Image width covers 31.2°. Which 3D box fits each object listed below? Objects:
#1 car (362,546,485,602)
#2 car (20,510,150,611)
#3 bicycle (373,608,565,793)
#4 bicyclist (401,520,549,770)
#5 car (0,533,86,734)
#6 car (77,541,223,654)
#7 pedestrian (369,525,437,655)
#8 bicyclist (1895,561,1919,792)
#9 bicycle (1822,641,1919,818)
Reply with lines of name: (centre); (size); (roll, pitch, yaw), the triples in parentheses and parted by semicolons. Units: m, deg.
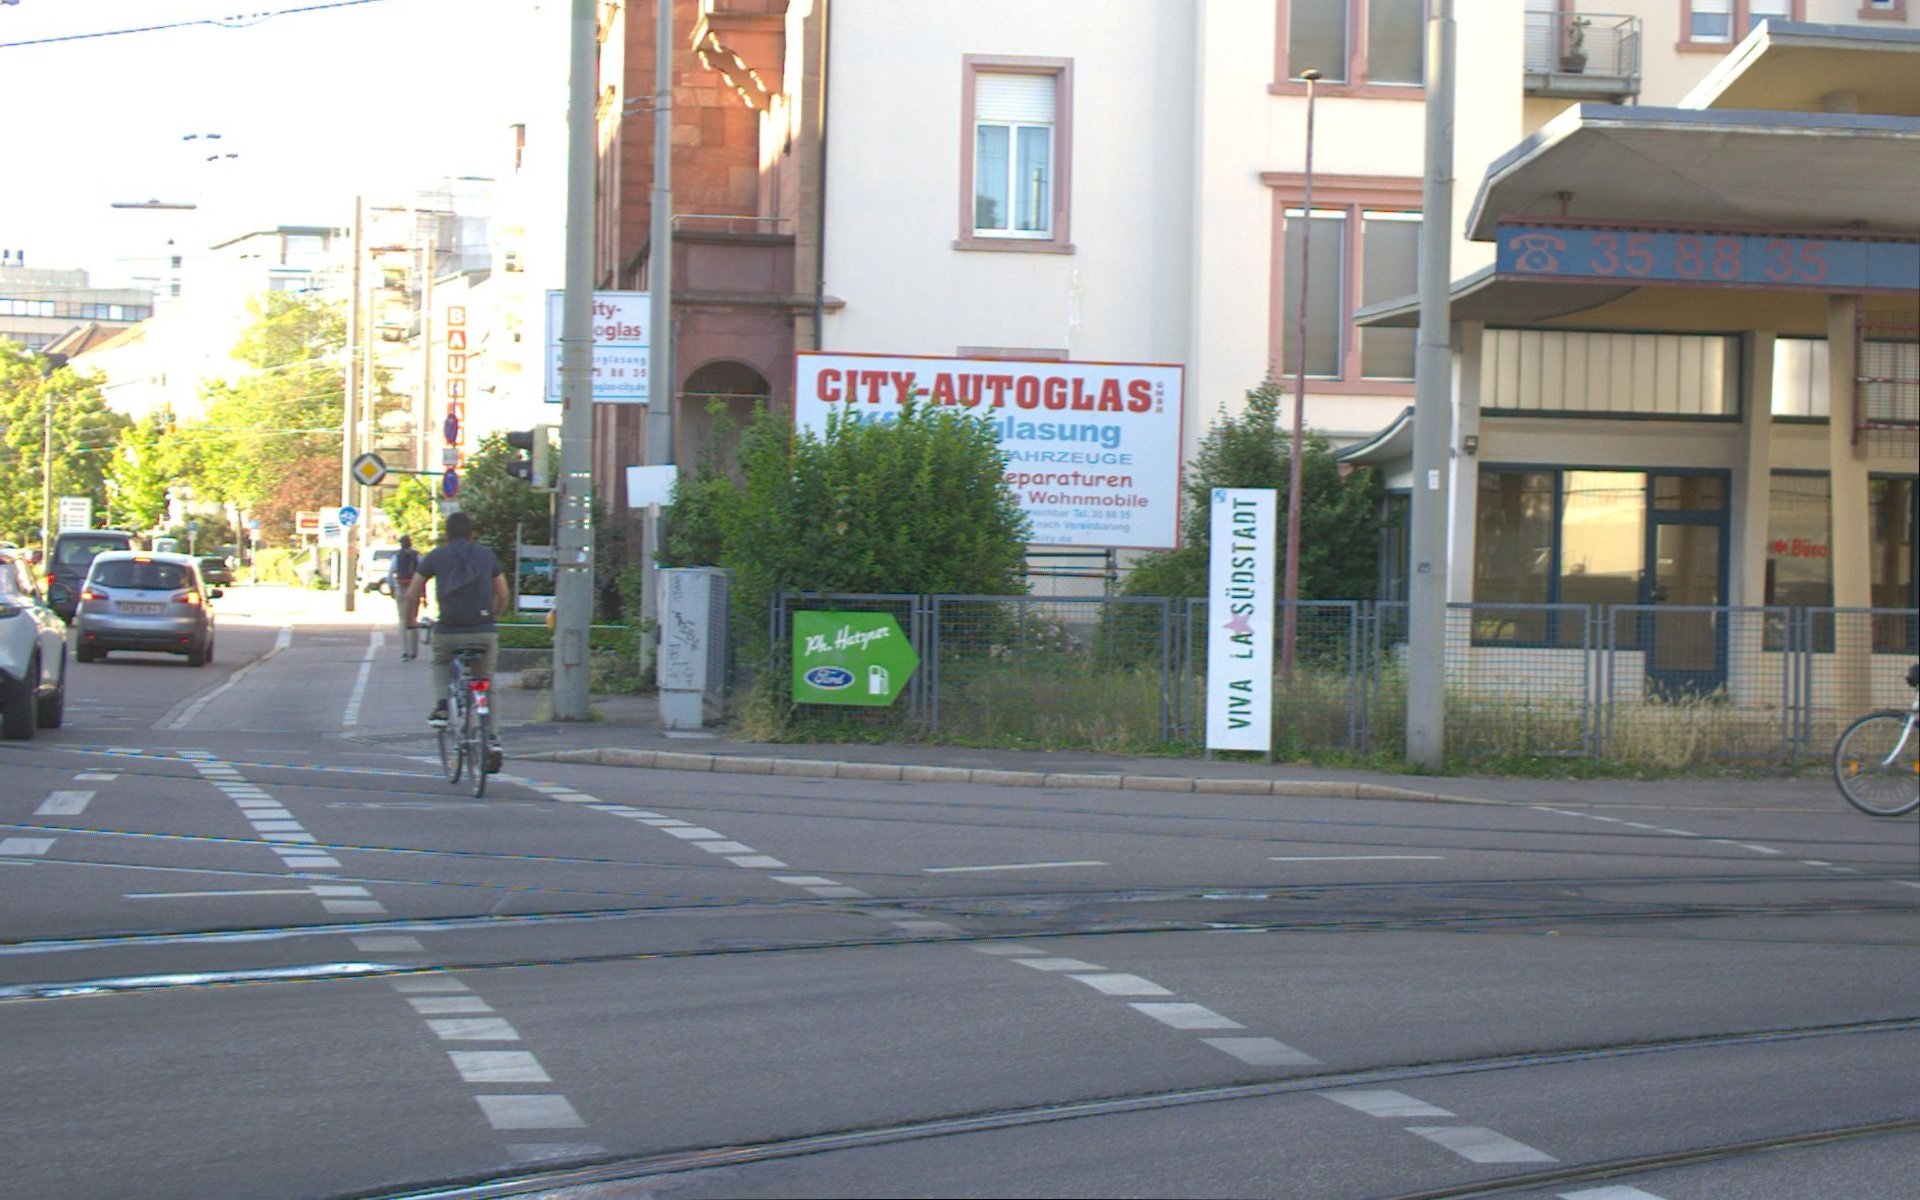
car: (-20.201, -0.984, 129.413); (4.257, 2.007, 2.001); (1, 0, -18)
car: (-18.224, -0.821, 71.765); (2.171, 2.002, 4.809); (1, 1, -9)
bicycle: (-3.140, 0.619, 21.839); (0.770, 1.082, 1.871); (1, 1, -21)
bicyclist: (-3.068, 0.275, 21.693); (0.833, 1.520, 0.994); (1, 0, -11)
car: (-8.394, 0.204, 28.333); (1.947, 1.523, 4.091); (2, 1, -10)
car: (-11.949, -0.051, 50.900); (1.813, 1.577, 4.001); (1, 0, -9)
pedestrian: (-7.961, -0.145, 49.176); (0.875, 1.818, 1.184); (1, 0, -8)
bicyclist: (6.875, 0.512, 22.879); (1.048, 1.521, 0.879); (1, 0, 0)
bicycle: (6.896, 0.870, 22.896); (2.058, 1.121, 0.896); (1, 1, 0)
